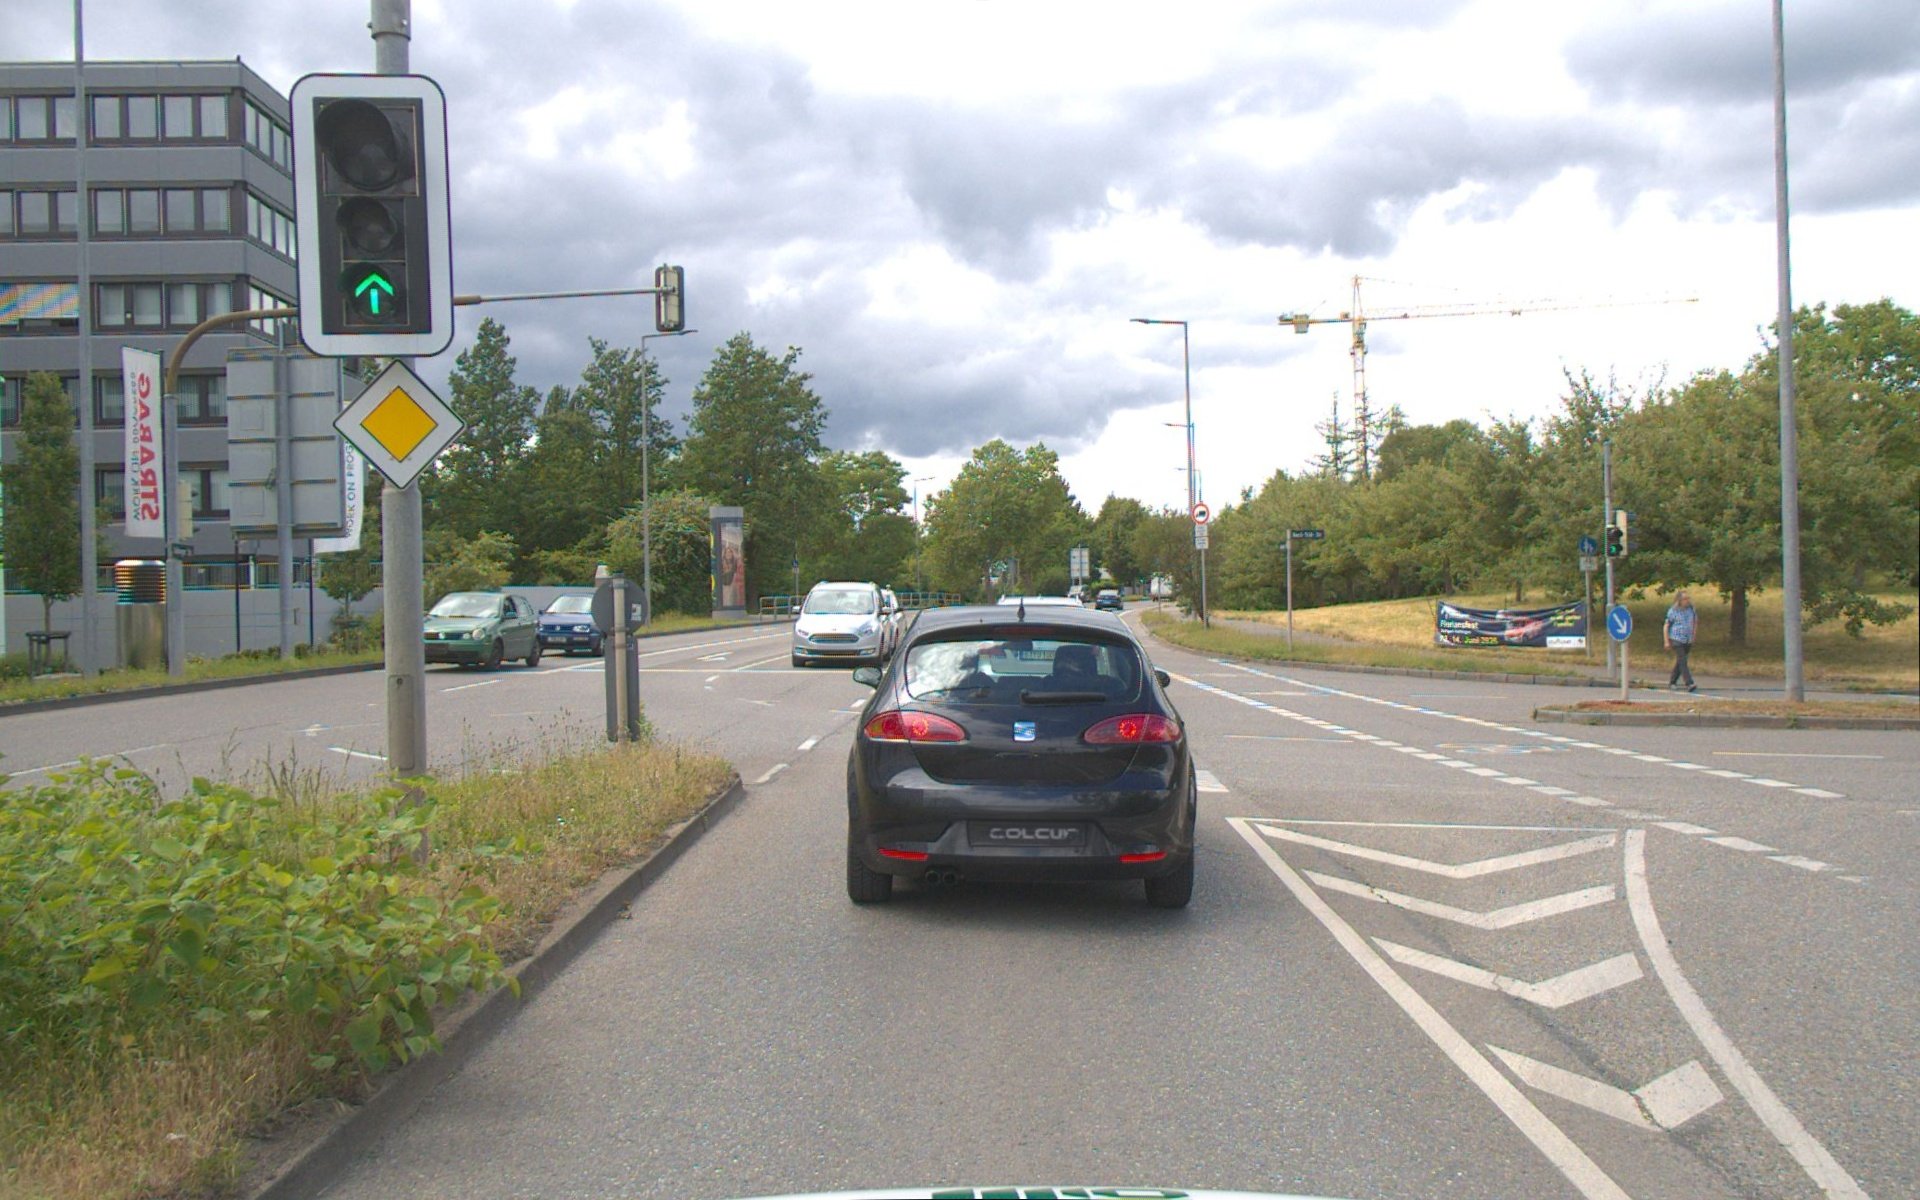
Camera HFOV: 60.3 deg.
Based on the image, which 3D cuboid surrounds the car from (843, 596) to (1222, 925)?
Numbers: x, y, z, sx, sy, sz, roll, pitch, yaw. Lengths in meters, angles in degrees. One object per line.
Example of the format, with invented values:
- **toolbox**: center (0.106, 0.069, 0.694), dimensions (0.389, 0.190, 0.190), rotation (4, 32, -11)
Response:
- **car**: center (0.297, 0.714, 9.102), dimensions (1.676, 1.442, 3.458), rotation (1, 0, -1)

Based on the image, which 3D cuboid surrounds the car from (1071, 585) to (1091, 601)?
- **car**: center (12.816, -0.733, 175.432), dimensions (1.678, 1.609, 3.745), rotation (1, 0, 11)

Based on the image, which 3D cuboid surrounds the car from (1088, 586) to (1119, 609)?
- **car**: center (10.259, -0.198, 117.871), dimensions (1.951, 1.593, 4.474), rotation (0, 0, 8)

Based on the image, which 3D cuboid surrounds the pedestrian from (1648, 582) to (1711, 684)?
- **pedestrian**: center (13.038, 0.590, 29.998), dimensions (0.703, 1.824, 1.044), rotation (1, -1, 3)

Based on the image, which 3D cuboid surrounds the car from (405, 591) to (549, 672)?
- **car**: center (-9.126, 0.556, 31.529), dimensions (1.572, 1.457, 3.753), rotation (0, 0, 1)

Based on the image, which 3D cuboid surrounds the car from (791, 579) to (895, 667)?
- **car**: center (-2.394, 0.432, 34.869), dimensions (1.783, 1.716, 4.645), rotation (1, 1, 1)

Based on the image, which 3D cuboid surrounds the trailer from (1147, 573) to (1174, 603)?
- **trailer**: center (21.315, -1.231, 175.596), dimensions (2.438, 3.127, 5.591), rotation (1, 0, 10)

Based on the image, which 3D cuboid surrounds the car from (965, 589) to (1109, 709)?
- **car**: center (0.979, 0.627, 22.803), dimensions (1.797, 1.493, 3.751), rotation (1, 0, 0)

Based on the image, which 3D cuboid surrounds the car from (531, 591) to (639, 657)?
- **car**: center (-8.755, 0.519, 38.895), dimensions (1.521, 1.444, 3.897), rotation (0, 1, 2)

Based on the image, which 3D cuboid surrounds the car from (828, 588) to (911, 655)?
- **car**: center (-2.188, 0.491, 40.905), dimensions (1.626, 1.545, 4.086), rotation (1, 1, 3)
